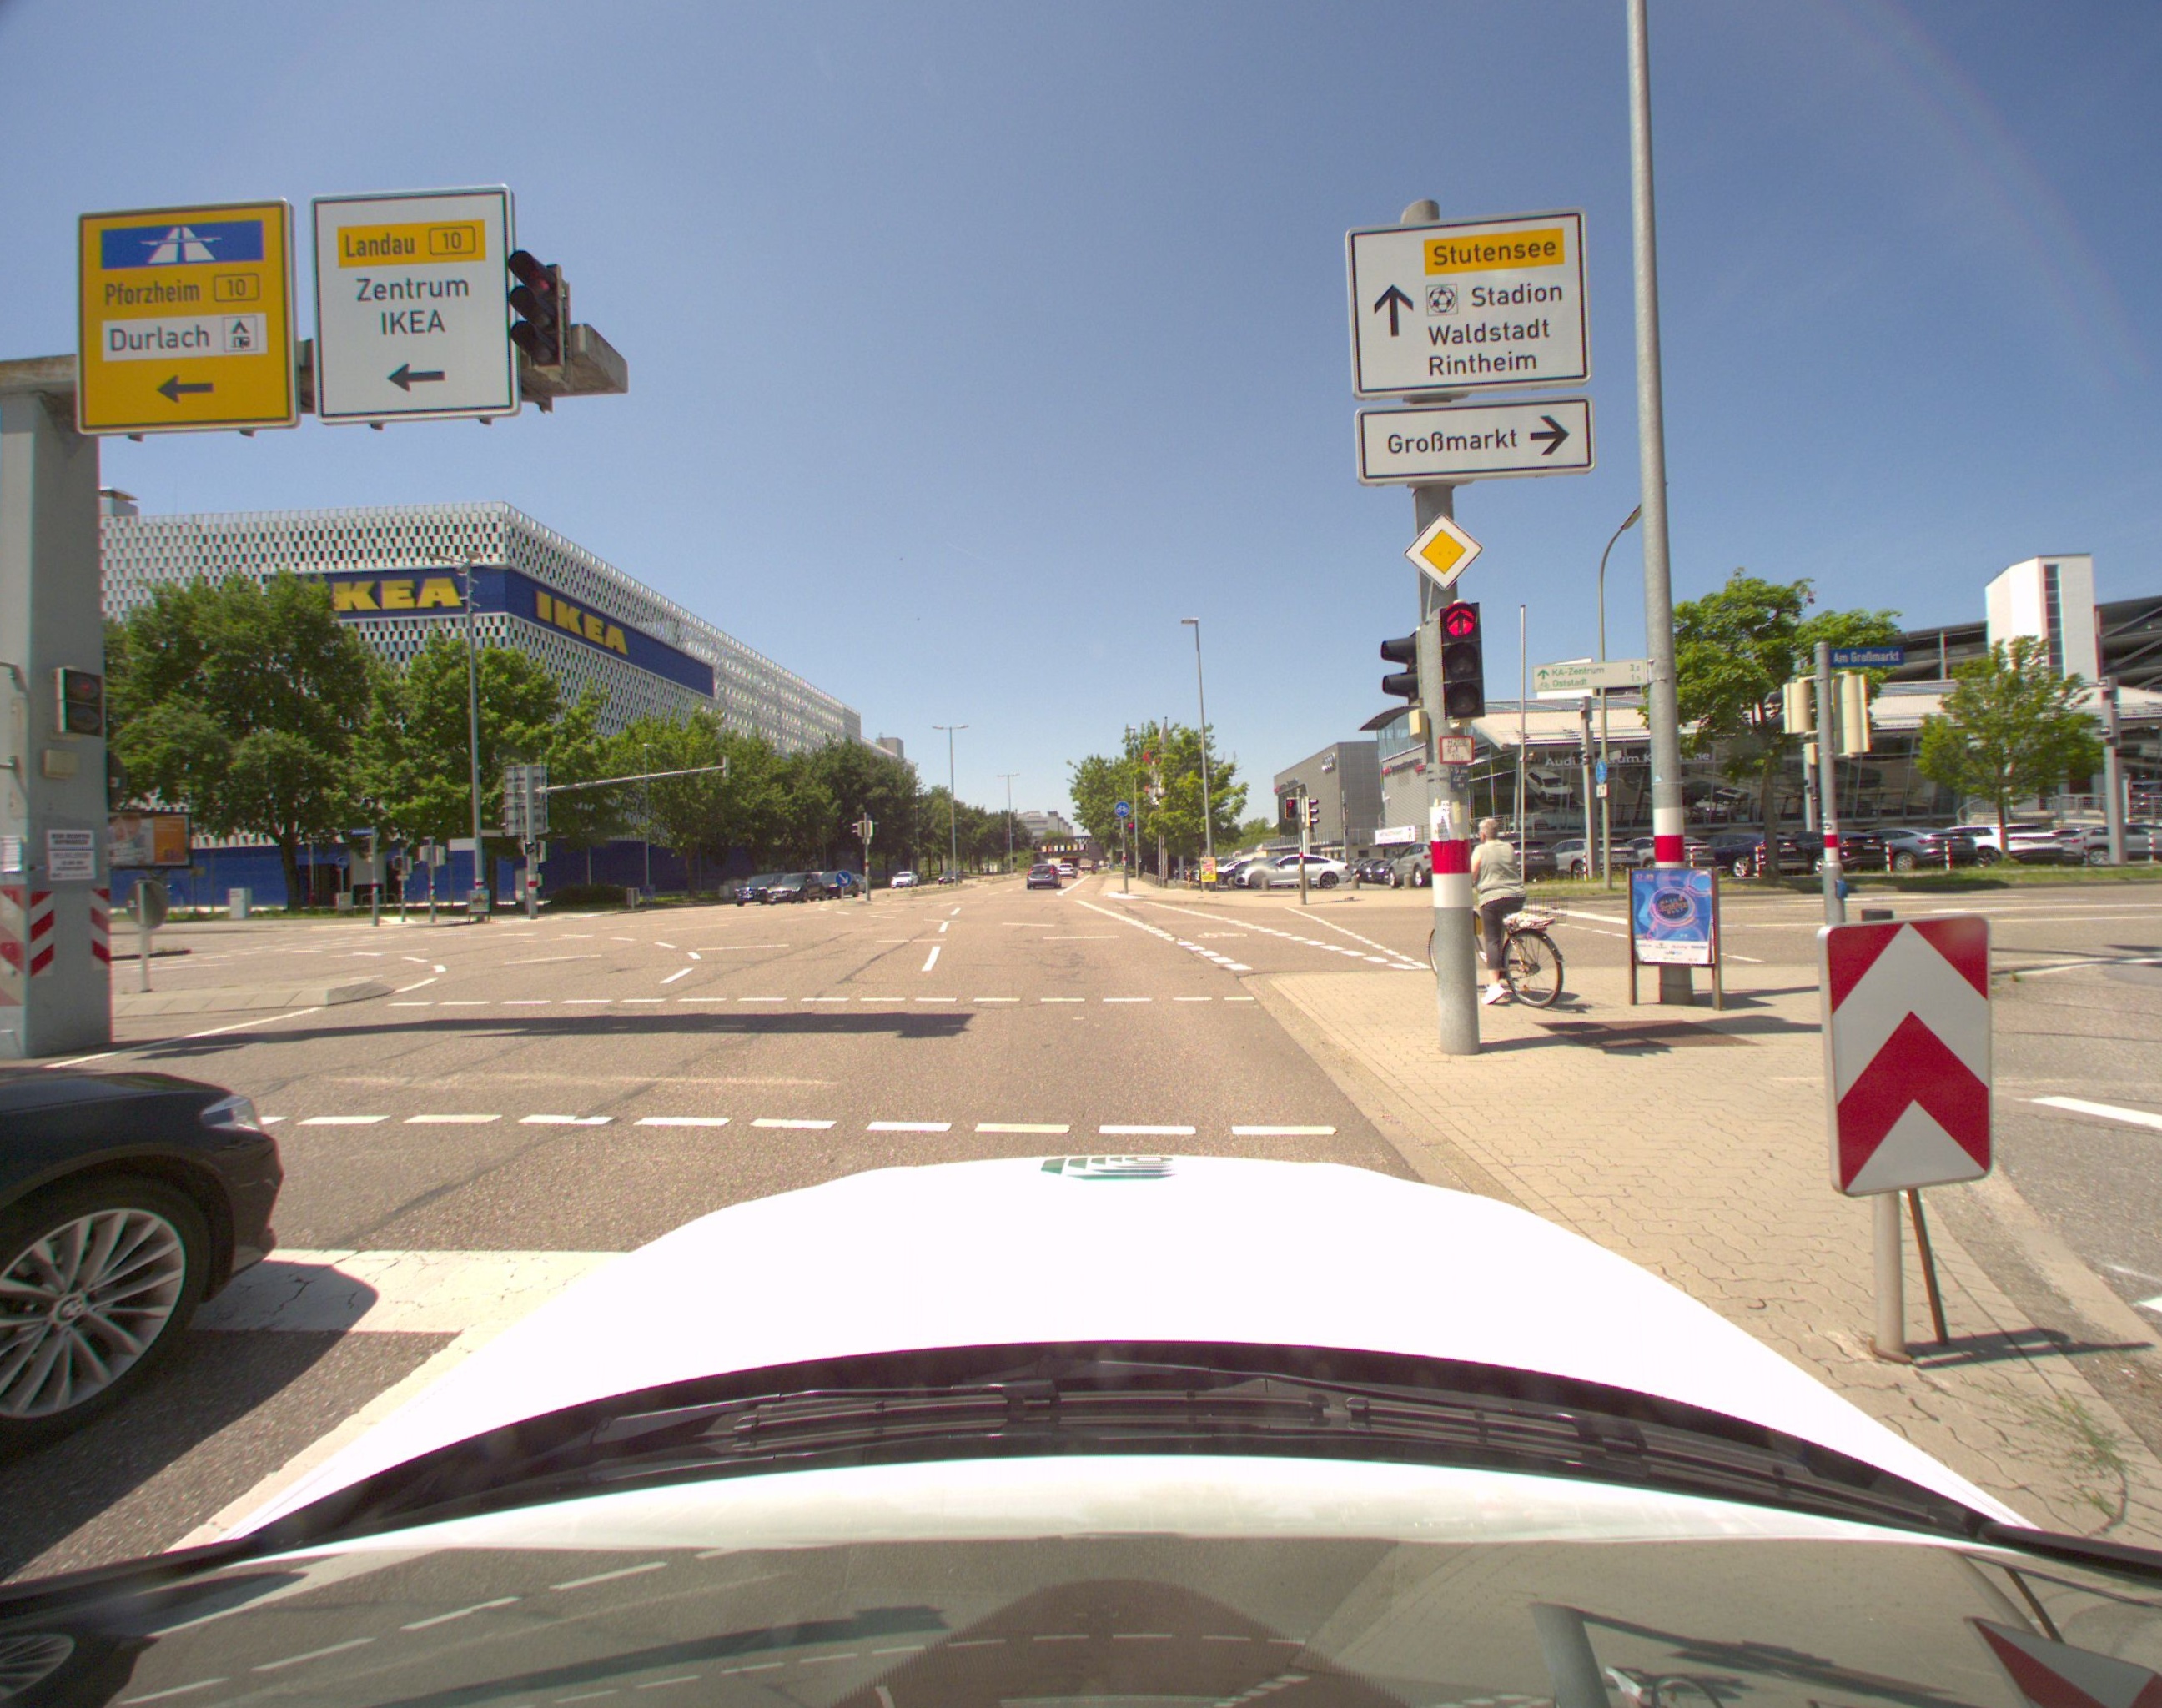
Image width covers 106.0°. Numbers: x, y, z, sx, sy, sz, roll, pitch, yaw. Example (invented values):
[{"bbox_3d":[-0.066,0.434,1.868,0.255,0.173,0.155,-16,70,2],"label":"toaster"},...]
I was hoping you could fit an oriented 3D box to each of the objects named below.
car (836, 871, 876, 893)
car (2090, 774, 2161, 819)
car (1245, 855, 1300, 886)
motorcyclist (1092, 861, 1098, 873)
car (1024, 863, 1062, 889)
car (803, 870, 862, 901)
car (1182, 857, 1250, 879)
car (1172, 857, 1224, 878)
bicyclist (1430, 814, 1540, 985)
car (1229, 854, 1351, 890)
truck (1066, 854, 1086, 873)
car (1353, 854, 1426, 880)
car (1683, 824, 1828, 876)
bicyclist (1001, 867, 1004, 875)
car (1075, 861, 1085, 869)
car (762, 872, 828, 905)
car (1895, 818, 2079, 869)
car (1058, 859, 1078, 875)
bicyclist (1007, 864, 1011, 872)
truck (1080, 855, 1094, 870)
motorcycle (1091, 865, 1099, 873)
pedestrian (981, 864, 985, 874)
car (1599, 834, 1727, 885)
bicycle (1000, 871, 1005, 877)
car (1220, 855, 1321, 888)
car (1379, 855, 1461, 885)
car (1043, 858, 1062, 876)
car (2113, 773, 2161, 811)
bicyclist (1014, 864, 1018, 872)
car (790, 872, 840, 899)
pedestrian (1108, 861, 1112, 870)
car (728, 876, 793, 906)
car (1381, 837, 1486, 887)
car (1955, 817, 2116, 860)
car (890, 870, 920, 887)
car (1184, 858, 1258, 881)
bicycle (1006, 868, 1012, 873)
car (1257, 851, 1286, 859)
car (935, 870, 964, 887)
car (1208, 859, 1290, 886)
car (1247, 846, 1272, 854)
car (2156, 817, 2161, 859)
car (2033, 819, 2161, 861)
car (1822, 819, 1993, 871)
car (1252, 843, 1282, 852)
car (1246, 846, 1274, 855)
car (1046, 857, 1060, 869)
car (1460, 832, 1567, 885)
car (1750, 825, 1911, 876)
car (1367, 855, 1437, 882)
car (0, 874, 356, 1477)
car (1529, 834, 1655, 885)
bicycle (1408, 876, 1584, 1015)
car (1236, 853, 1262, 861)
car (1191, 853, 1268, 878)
[{"bbox_3d":[-16.391,2.007,59.526,1.643,1.486,3.916,-3,-1,2],"label":"car"},{"bbox_3d":[45.764,-2.476,34.015,4.552,1.707,1.916,-2,-1,4],"label":"car"},{"bbox_3d":[9.236,0.794,39.612,1.855,1.420,4.667,0,-1,4],"label":"car"},{"bbox_3d":[1.799,1.743,106.113,0.719,1.529,0.868,0,-1,-8],"label":"motorcyclist"},{"bbox_3d":[-2.226,1.282,48.468,1.894,1.376,4.232,-2,-1,1],"label":"car"},{"bbox_3d":[-13.787,1.728,45.481,1.720,1.505,4.245,-4,-1,2],"label":"car"},{"bbox_3d":[8.604,0.899,52.068,4.085,1.405,1.869,0,-1,1],"label":"car"},{"bbox_3d":[8.604,0.994,60.215,3.668,1.453,1.834,0,-1,1],"label":"car"},{"bbox_3d":[3.976,0.427,8.076,0.627,1.606,0.824,0,-1,-5],"label":"bicyclist"},{"bbox_3d":[8.454,0.715,33.198,4.572,1.390,1.871,0,-1,3],"label":"car"},{"bbox_3d":[-0.617,1.303,107.783,2.449,2.410,7.136,0,-1,2],"label":"truck"},{"bbox_3d":[19.295,0.812,51.001,3.967,1.573,1.634,0,-1,1],"label":"car"},{"bbox_3d":[23.099,-0.102,28.090,1.624,1.654,3.907,-1,-1,-2],"label":"car"},{"bbox_3d":[-16.133,3.513,167.415,0.635,1.582,0.884,-2,-1,0],"label":"bicyclist"},{"bbox_3d":[-0.232,2.739,205.584,1.984,2.013,4.005,-3,-1,5],"label":"car"},{"bbox_3d":[-13.710,1.640,39.231,1.637,1.389,3.717,-4,-1,2],"label":"car"},{"bbox_3d":[31.164,-0.308,28.211,1.840,1.654,3.994,0,-1,-2],"label":"car"},{"bbox_3d":[-1.195,1.212,77.408,1.737,1.396,3.530,-2,0,2],"label":"car"},{"bbox_3d":[-15.284,2.923,172.430,0.742,1.686,0.952,-2,-1,2],"label":"bicyclist"},{"bbox_3d":[1.211,1.629,158.380,2.605,2.850,5.616,0,-1,2],"label":"truck"},{"bbox_3d":[1.801,1.952,106.070,0.716,1.105,1.825,-1,-1,-8],"label":"motorcycle"},{"bbox_3d":[-18.904,2.919,157.315,0.741,1.884,0.578,-2,-1,2],"label":"pedestrian"},{"bbox_3d":[20.158,0.145,28.394,1.632,1.616,3.815,-1,1,-2],"label":"car"},{"bbox_3d":[-16.108,4.085,167.348,0.635,1.134,1.970,-2,-1,0],"label":"bicycle"},{"bbox_3d":[8.270,0.752,35.816,4.081,1.390,1.869,0,-1,1],"label":"car"},{"bbox_3d":[19.060,0.887,45.860,3.970,1.622,1.657,0,-1,1],"label":"car"},{"bbox_3d":[-3.353,1.540,95.357,1.986,2.014,4.000,-1,-1,1],"label":"car"},{"bbox_3d":[53.531,-3.110,39.361,1.905,1.722,4.142,-2,0,-5],"label":"car"},{"bbox_3d":[-14.800,3.198,186.376,0.631,1.629,1.045,-4,-1,1],"label":"bicyclist"},{"bbox_3d":[-16.674,1.940,51.185,1.720,1.544,3.916,-3,-1,2],"label":"car"},{"bbox_3d":[4.876,1.913,135.435,0.621,1.374,0.564,-2,-1,0],"label":"pedestrian"},{"bbox_3d":[-16.827,1.908,42.985,1.654,1.424,4.039,-3,-1,2],"label":"car"},{"bbox_3d":[12.378,0.335,28.935,1.860,1.558,4.506,-3,-2,3],"label":"car"},{"bbox_3d":[39.903,-0.615,34.189,3.947,1.571,1.862,-3,-1,31],"label":"car"},{"bbox_3d":[-16.063,2.223,74.563,1.737,1.486,4.001,-3,-1,2],"label":"car"},{"bbox_3d":[8.419,0.921,49.103,4.210,1.390,1.869,0,-1,1],"label":"car"},{"bbox_3d":[-15.262,3.480,172.504,0.736,1.125,2.436,-2,-1,2],"label":"bicycle"},{"bbox_3d":[27.037,0.152,115.904,3.716,1.130,1.682,0,-1,-3],"label":"car"},{"bbox_3d":[-12.806,2.370,79.562,1.718,1.446,4.725,-4,-1,4],"label":"car"},{"bbox_3d":[8.960,0.975,43.604,4.081,1.364,1.875,0,-1,1],"label":"car"},{"bbox_3d":[27.285,-0.622,124.441,3.515,1.239,1.675,0,-1,-3],"label":"car"},{"bbox_3d":[39.569,-0.624,26.863,4.558,1.471,1.861,-2,-1,26],"label":"car"},{"bbox_3d":[39.600,-0.554,30.596,4.531,1.471,1.925,-3,-1,26],"label":"car"},{"bbox_3d":[28.478,-0.266,28.267,1.840,1.654,3.994,0,-1,-2],"label":"car"},{"bbox_3d":[27.383,-0.888,120.041,3.930,1.211,1.715,-1,-1,-3],"label":"car"},{"bbox_3d":[28.270,-0.577,128.736,3.977,1.312,1.795,0,-1,-3],"label":"car"},{"bbox_3d":[-4.862,1.506,141.076,1.986,2.014,4.814,0,-1,2],"label":"car"},{"bbox_3d":[15.052,0.192,28.619,1.836,1.654,4.003,-2,-2,5],"label":"car"},{"bbox_3d":[25.792,-0.086,28.241,1.840,1.654,3.994,0,-1,-2],"label":"car"},{"bbox_3d":[19.240,0.869,48.902,3.634,1.580,1.643,0,-1,1],"label":"car"},{"bbox_3d":[-3.544,0.798,0.646,1.791,1.440,4.557,-2,0,1],"label":"car"},{"bbox_3d":[17.882,0.213,28.756,1.840,1.654,3.994,0,-1,-2],"label":"car"},{"bbox_3d":[3.986,0.818,8.017,0.627,1.133,1.891,-1,0,-5],"label":"bicycle"},{"bbox_3d":[29.182,0.521,141.438,3.978,1.312,1.795,-2,-1,-3],"label":"car"},{"bbox_3d":[8.422,0.645,46.430,4.084,1.349,1.869,0,-1,1],"label":"car"}]
